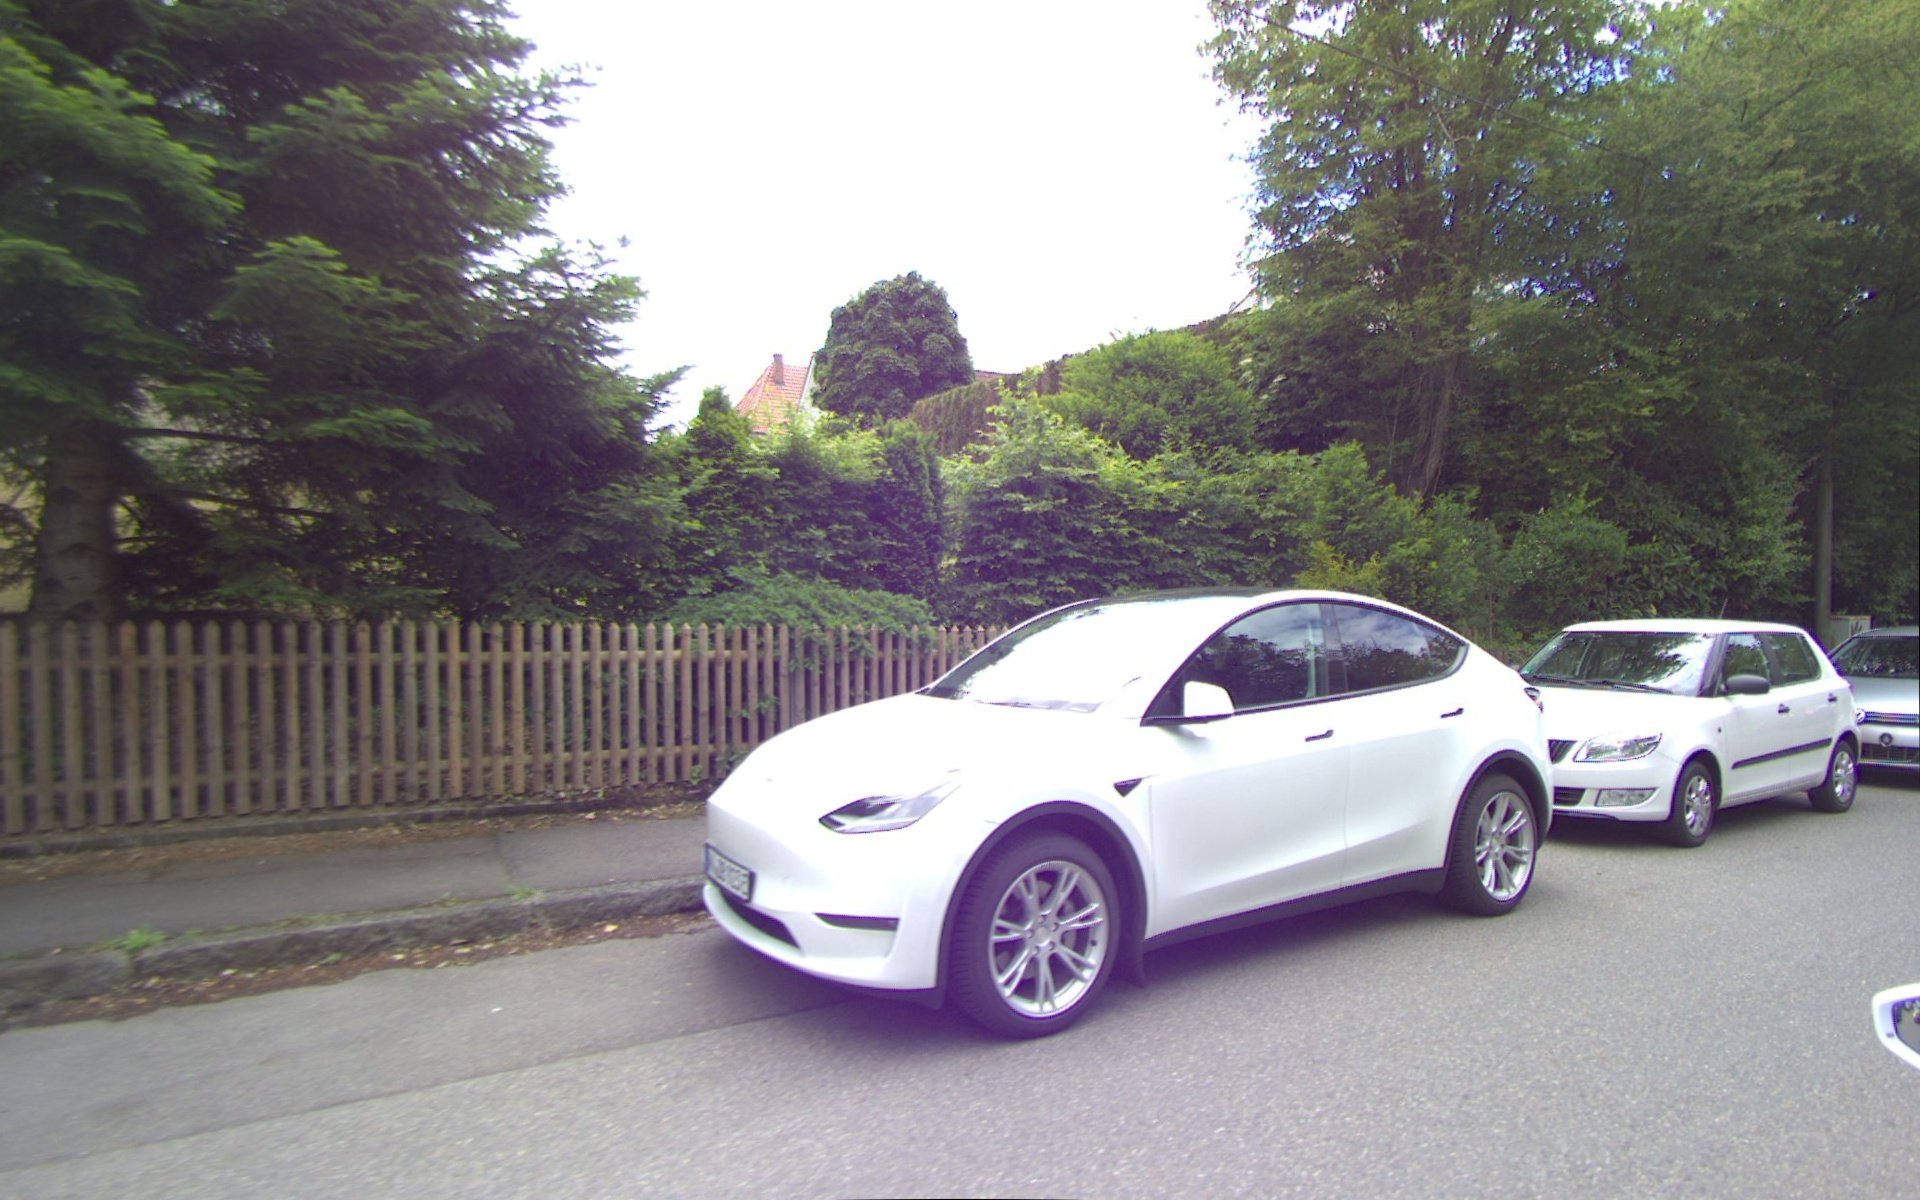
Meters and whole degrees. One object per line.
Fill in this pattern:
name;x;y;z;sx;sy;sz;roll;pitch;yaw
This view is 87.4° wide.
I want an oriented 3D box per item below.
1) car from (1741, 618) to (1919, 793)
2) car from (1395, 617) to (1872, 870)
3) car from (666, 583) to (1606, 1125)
car;9.801;0.964;10.165;3.962;1.524;1.712;1;-2;-32
car;5.305;0.910;7.814;3.775;1.524;1.711;1;-2;-33
car;1.074;0.797;5.003;4.554;1.582;1.905;1;-2;-33
